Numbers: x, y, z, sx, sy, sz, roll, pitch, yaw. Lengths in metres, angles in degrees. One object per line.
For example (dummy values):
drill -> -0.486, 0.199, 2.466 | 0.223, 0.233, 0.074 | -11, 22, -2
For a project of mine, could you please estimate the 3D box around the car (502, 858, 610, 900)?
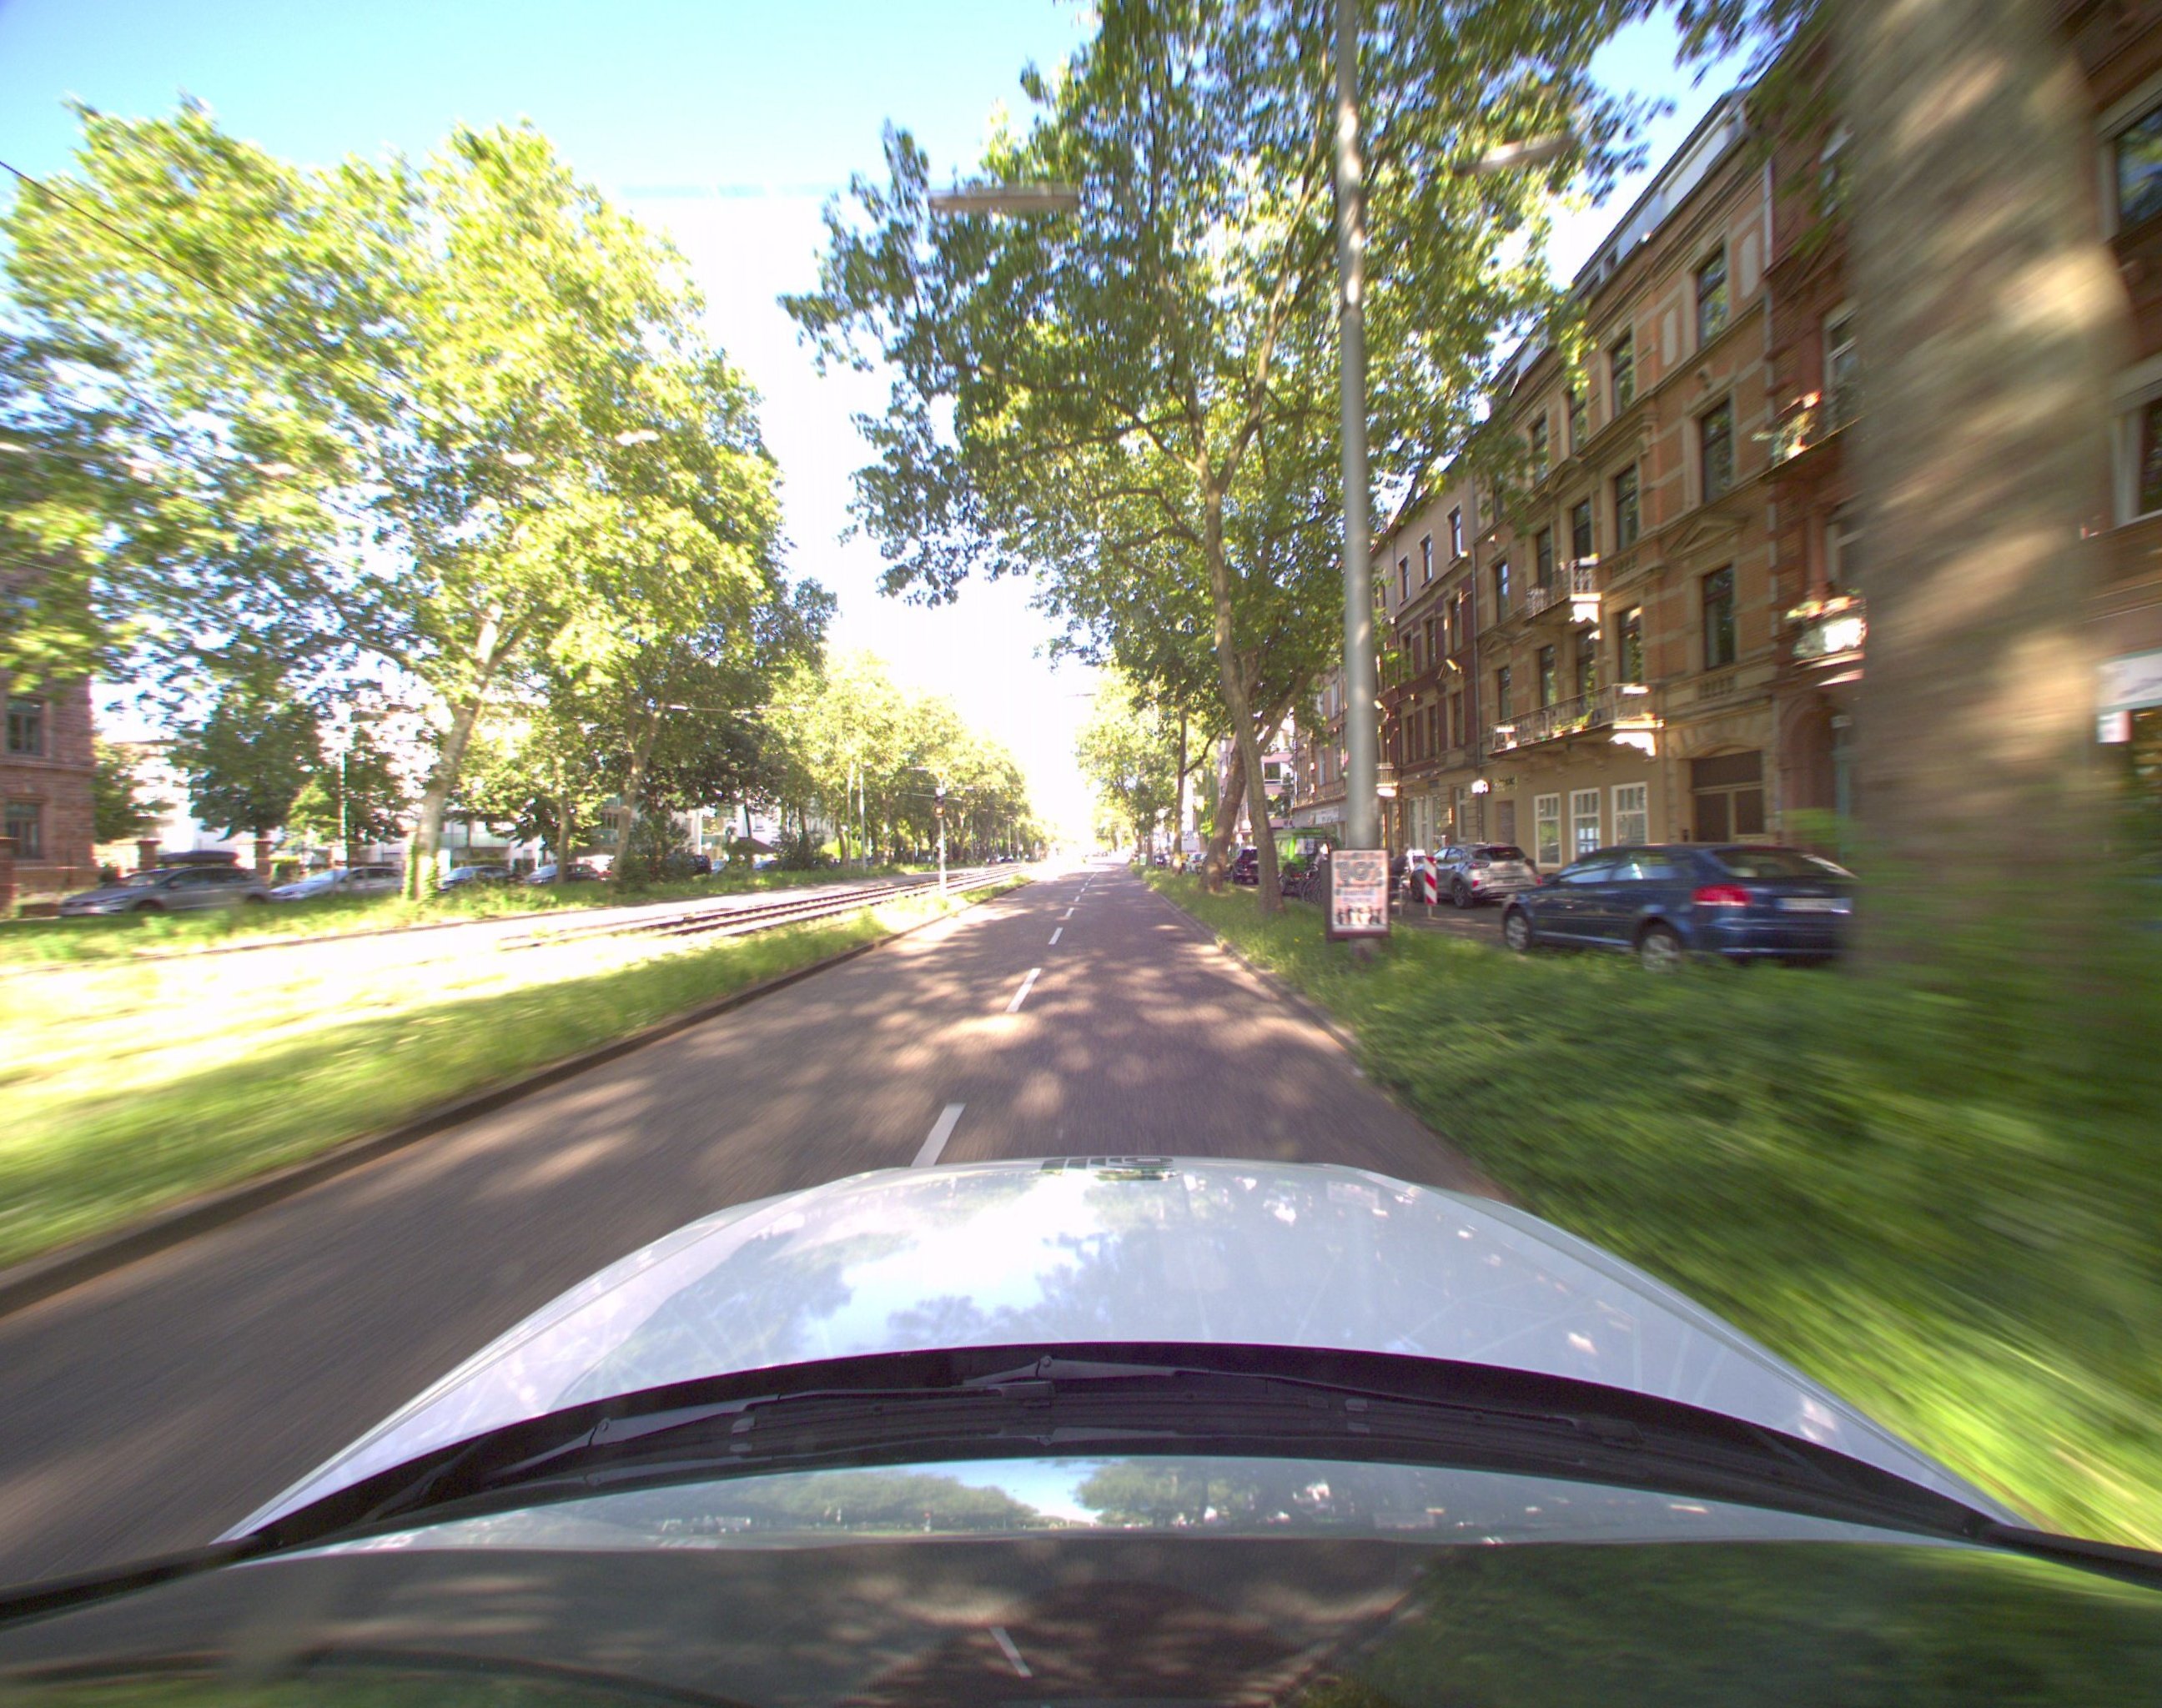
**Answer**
car -> -25.263, 1.169, 39.411 | 2.102, 1.809, 4.737 | -1, 0, 0

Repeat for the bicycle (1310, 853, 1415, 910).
bicycle -> 6.544, 0.633, 19.049 | 2.155, 1.294, 0.984 | 0, 0, 3

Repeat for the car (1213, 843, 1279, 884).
car -> 7.138, 0.397, 35.690 | 1.884, 1.647, 4.800 | 2, 0, 0

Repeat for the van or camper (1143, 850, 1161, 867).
van or camper -> 8.367, 0.504, 96.849 | 1.832, 1.963, 5.128 | 0, 0, 1

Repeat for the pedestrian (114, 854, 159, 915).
pedestrian -> -31.688, 1.002, 27.330 | 0.712, 2.013, 0.626 | -1, 0, 2

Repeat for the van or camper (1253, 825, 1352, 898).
van or camper -> 6.970, 0.226, 26.169 | 1.828, 2.098, 4.774 | 2, 0, 0

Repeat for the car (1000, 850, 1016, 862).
car -> -13.122, 0.352, 146.769 | 1.985, 1.870, 4.876 | -3, 0, 3

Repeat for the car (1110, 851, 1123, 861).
car -> 6.082, 0.391, 140.371 | 2.014, 1.662, 4.001 | -1, 0, 1

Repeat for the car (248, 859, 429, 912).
car -> -25.683, 1.039, 28.420 | 1.984, 1.615, 4.427 | -1, 0, 6

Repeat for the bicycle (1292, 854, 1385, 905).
bicycle -> 6.776, 0.652, 21.483 | 2.163, 1.294, 0.980 | 0, 0, -9

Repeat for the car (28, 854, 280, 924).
car -> -25.773, 0.886, 22.926 | 1.759, 1.719, 4.427 | -1, 0, 6

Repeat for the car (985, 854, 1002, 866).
car -> -12.787, 0.857, 119.321 | 1.788, 1.508, 4.341 | -4, 0, 3

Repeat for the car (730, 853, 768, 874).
car -> -33.133, 0.934, 81.313 | 1.985, 2.013, 4.003 | -1, 0, 3

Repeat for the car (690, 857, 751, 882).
car -> -25.130, 1.059, 56.973 | 2.022, 1.598, 5.085 | -3, 0, -1

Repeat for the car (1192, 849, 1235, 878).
car -> 7.382, 0.509, 45.624 | 1.747, 1.496, 4.185 | 2, 0, 1

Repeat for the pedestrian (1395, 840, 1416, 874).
pedestrian -> 14.128, 0.127, 35.502 | 0.595, 1.476, 0.768 | -1, 0, 3

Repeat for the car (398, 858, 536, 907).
car -> -25.425, 1.132, 33.994 | 2.102, 1.809, 4.738 | -1, 0, 1

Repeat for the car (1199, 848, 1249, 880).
car -> 7.119, 0.486, 40.880 | 1.731, 1.464, 4.365 | 2, 0, 1

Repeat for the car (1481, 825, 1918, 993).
car -> 6.405, 0.483, 9.173 | 1.827, 1.407, 4.194 | 2, 0, 2

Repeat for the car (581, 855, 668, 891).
car -> -25.197, 1.014, 45.210 | 2.102, 1.809, 4.738 | -1, 0, 0

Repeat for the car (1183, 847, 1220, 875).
car -> 7.448, 0.424, 50.568 | 1.747, 1.572, 4.185 | 2, 0, 1

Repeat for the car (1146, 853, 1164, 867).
car -> 8.305, 0.673, 91.356 | 1.678, 1.514, 3.666 | 0, 0, -1

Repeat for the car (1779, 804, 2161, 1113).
car -> 6.098, 0.492, 3.930 | 1.688, 1.507, 4.585 | -1, 1, 2

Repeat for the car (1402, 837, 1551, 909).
car -> 9.728, 0.432, 20.433 | 1.747, 1.579, 4.185 | 2, 0, 1

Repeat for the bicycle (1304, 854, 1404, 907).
bicycle -> 6.734, 0.638, 20.196 | 2.156, 1.294, 0.983 | 0, 0, 1

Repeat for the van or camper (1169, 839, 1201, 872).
van or camper -> 8.106, 0.117, 63.855 | 2.174, 2.480, 6.275 | 1, 0, 4

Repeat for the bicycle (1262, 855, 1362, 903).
bicycle -> 6.468, 0.679, 22.864 | 2.545, 1.294, 0.973 | 0, 0, -6
